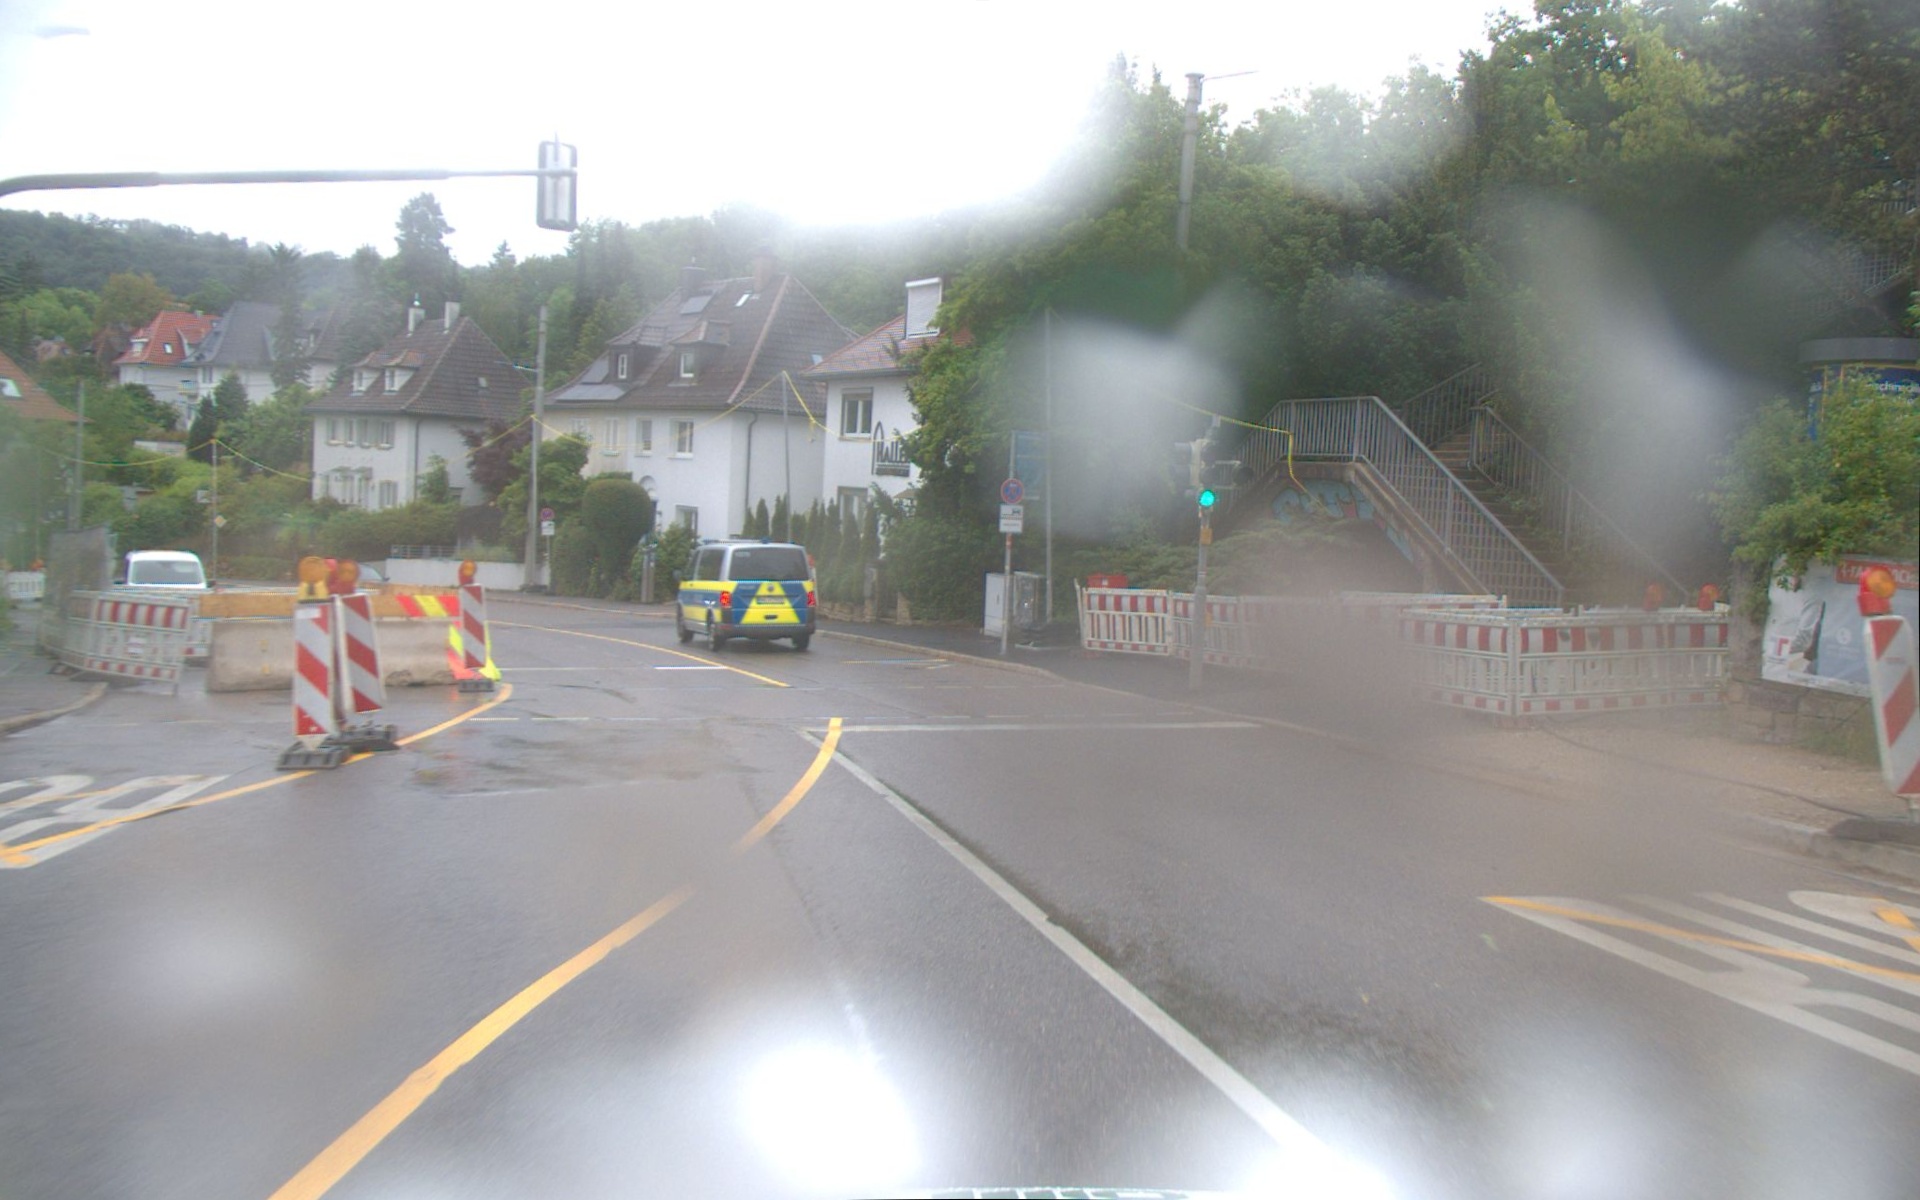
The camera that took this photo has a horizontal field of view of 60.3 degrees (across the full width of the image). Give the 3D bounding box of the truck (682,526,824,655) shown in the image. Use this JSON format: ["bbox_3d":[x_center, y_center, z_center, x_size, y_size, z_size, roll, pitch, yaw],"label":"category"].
[{"bbox_3d":[-4.036,-0.265,31.502,1.961,2.047,4.717,0,5,-16],"label":"truck"}]

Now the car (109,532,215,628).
[{"bbox_3d":[-18.342,-0.428,37.908,1.971,2.049,4.761,-1,0,-28],"label":"car"}]
